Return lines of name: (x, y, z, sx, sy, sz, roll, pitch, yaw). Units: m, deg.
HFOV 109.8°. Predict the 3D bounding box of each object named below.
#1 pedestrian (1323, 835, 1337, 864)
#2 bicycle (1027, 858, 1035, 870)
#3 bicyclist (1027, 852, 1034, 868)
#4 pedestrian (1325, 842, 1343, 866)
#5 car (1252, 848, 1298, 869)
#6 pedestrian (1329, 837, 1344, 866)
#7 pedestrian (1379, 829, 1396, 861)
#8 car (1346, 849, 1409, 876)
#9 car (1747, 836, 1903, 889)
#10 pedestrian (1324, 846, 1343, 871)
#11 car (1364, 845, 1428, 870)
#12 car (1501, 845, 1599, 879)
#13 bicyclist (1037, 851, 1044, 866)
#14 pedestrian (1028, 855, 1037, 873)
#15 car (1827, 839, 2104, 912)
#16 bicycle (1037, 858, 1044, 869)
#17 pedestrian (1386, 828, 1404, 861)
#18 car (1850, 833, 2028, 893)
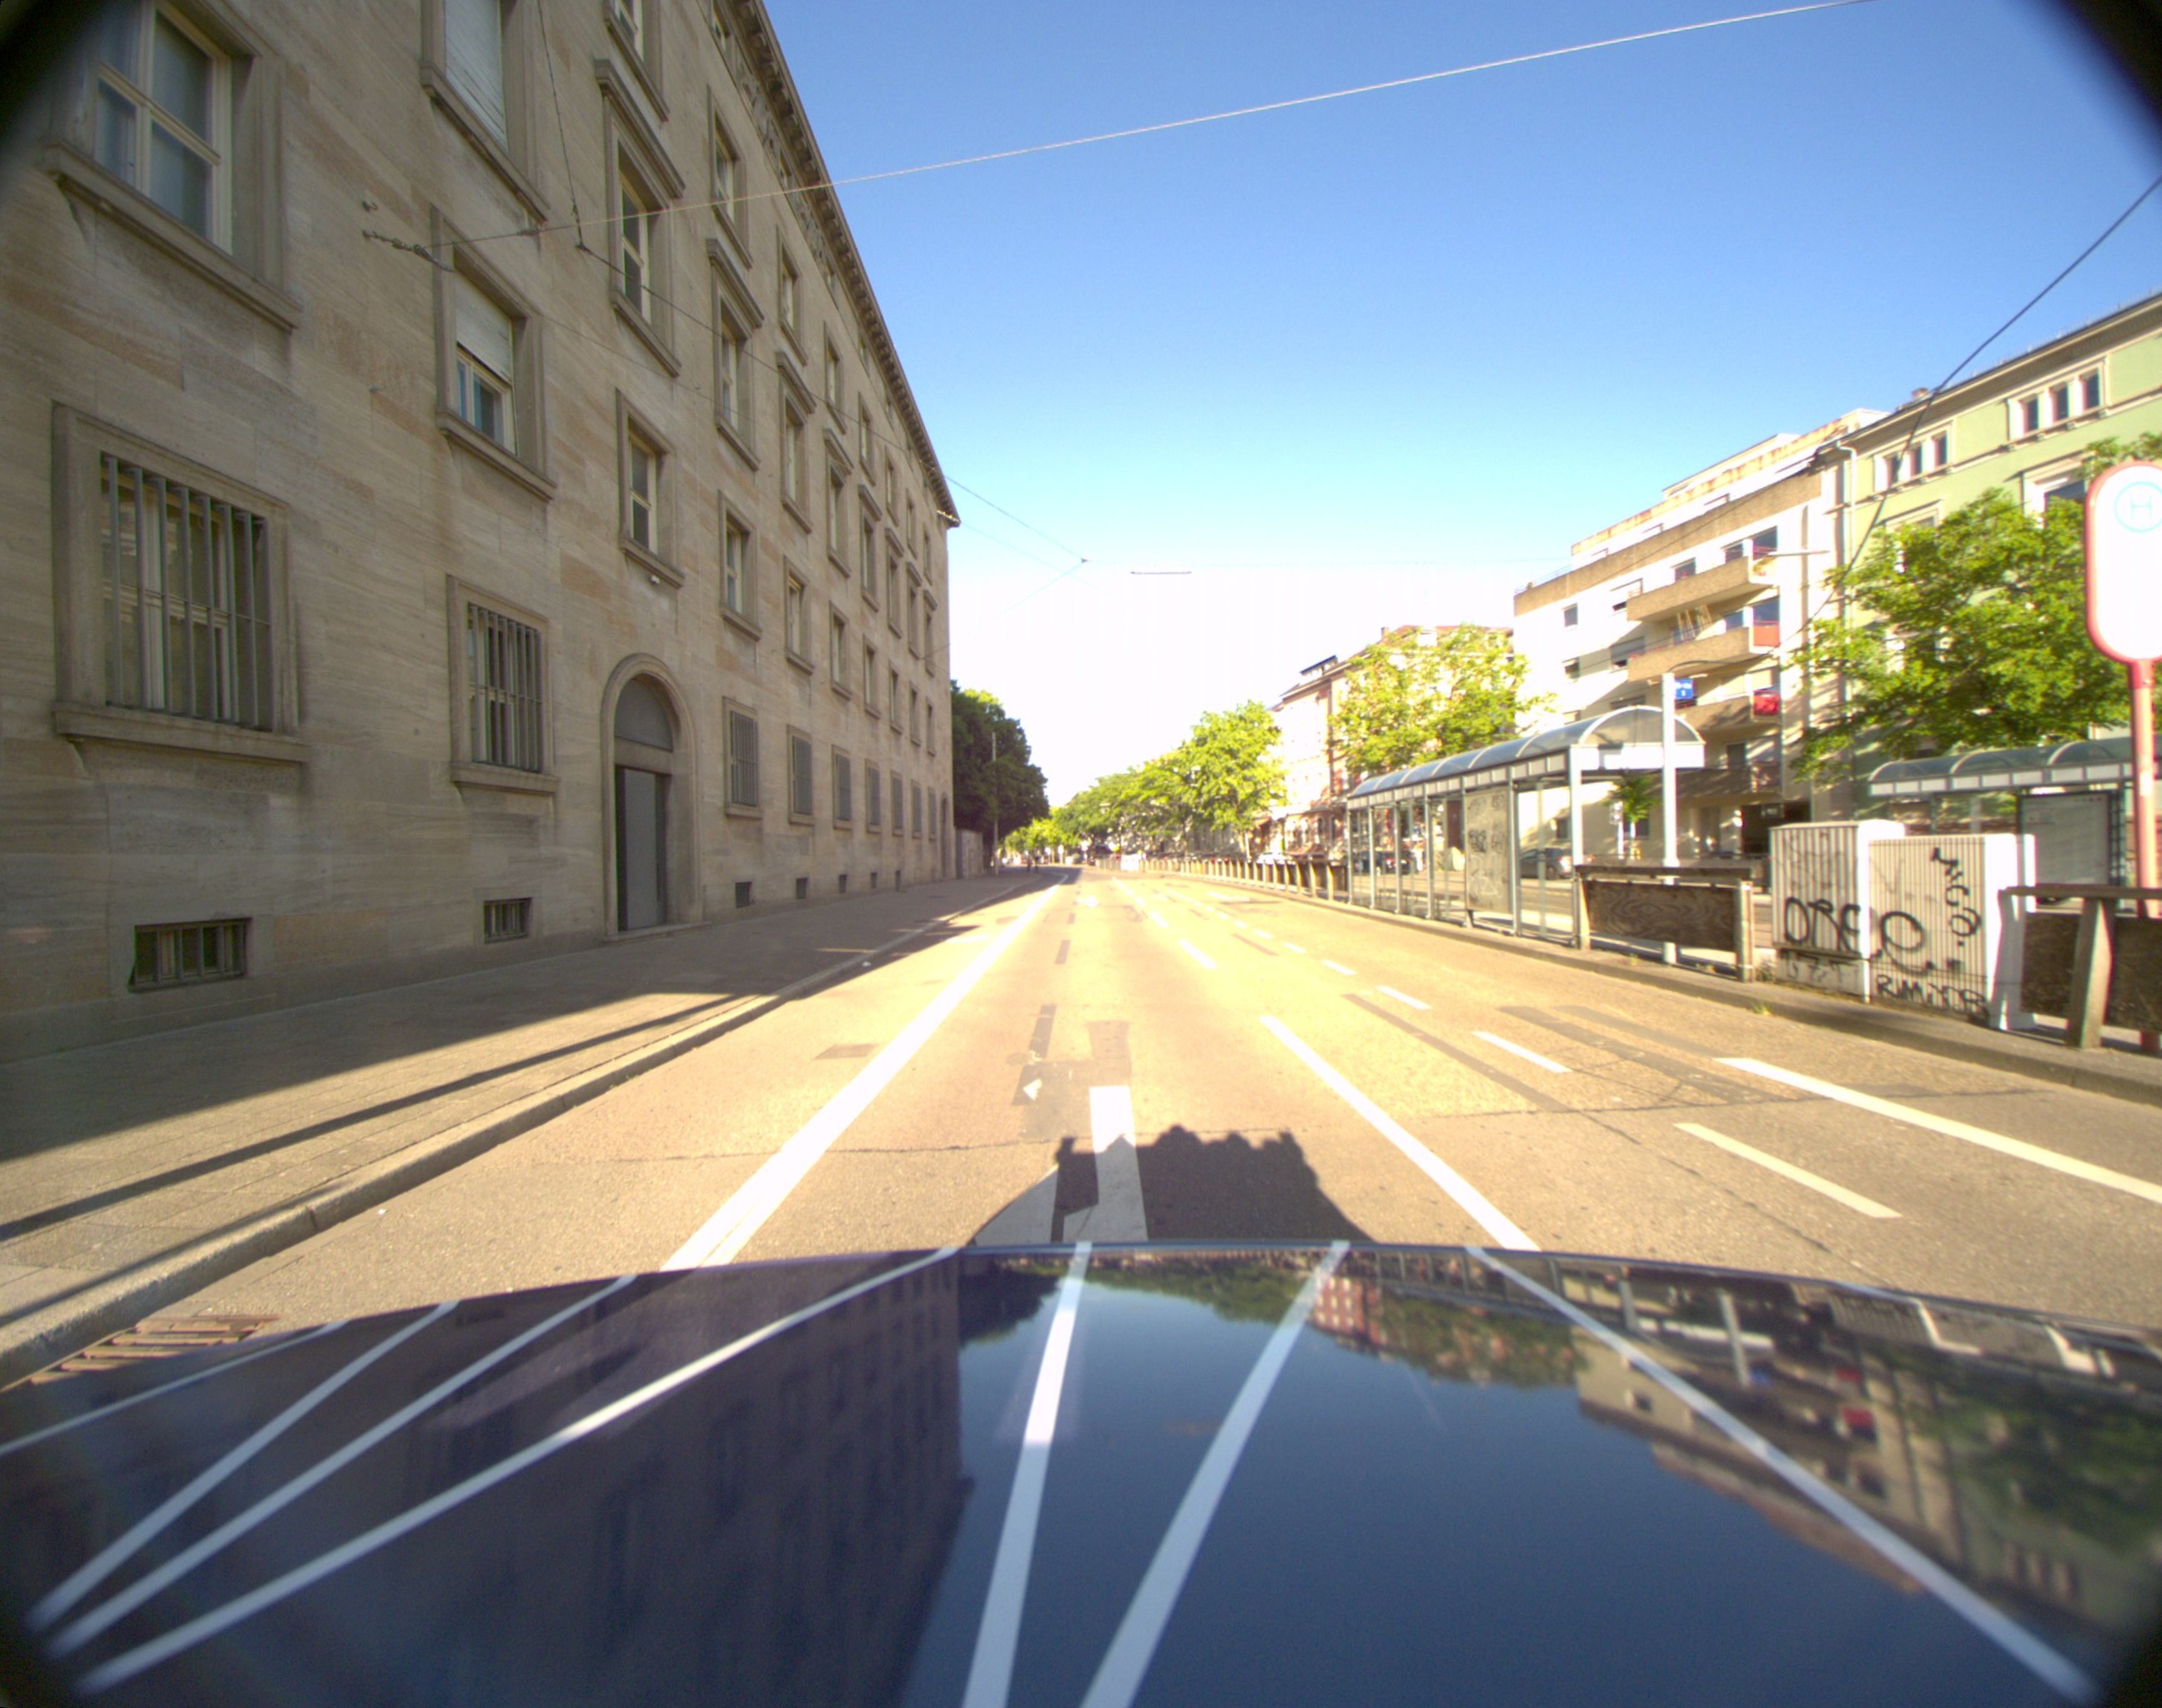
pedestrian: (19.430, -0.361, 59.249, 0.812, 2.194, 0.756, -1, 1, -4)
bicycle: (-5.354, 1.110, 81.349, 0.625, 1.214, 1.659, -3, 1, 1)
bicyclist: (-5.377, 0.659, 81.366, 0.625, 1.729, 0.688, -3, 1, 1)
pedestrian: (18.437, 0.001, 55.438, 0.855, 1.710, 1.019, -1, 1, -9)
car: (16.290, 0.345, 63.629, 4.134, 1.698, 1.848, -1, 1, -45)
pedestrian: (19.430, -0.188, 57.714, 0.813, 2.194, 0.756, -1, 1, -10)
pedestrian: (21.141, -0.610, 52.384, 0.813, 2.194, 0.756, -1, 1, -10)
car: (16.173, 0.457, 41.701, 1.670, 1.400, 3.877, 0, 0, -5)
car: (23.845, 0.236, 24.393, 4.002, 1.573, 1.761, -1, 0, -14)
pedestrian: (16.878, 0.308, 50.865, 0.870, 1.619, 0.889, -2, 1, -42)
car: (18.420, 0.205, 44.591, 1.609, 1.388, 3.996, -1, 0, -9)
car: (20.878, 0.324, 34.006, 1.654, 1.419, 3.737, -1, 0, -11)
bicyclist: (-4.359, 0.504, 81.201, 0.728, 1.570, 0.775, 0, 1, 1)
pedestrian: (-3.757, 0.778, 58.853, 0.548, 1.327, 0.587, -1, 1, 7)
car: (20.304, 0.432, 17.744, 1.647, 1.480, 3.998, -1, 0, -6)
bicycle: (-4.357, 0.996, 81.114, 0.625, 1.167, 1.566, 0, 0, 1)
pedestrian: (21.286, -0.658, 51.508, 0.813, 2.194, 0.756, -1, 1, -10)
car: (24.644, 0.234, 21.853, 4.002, 1.573, 1.761, -1, 0, -14)
